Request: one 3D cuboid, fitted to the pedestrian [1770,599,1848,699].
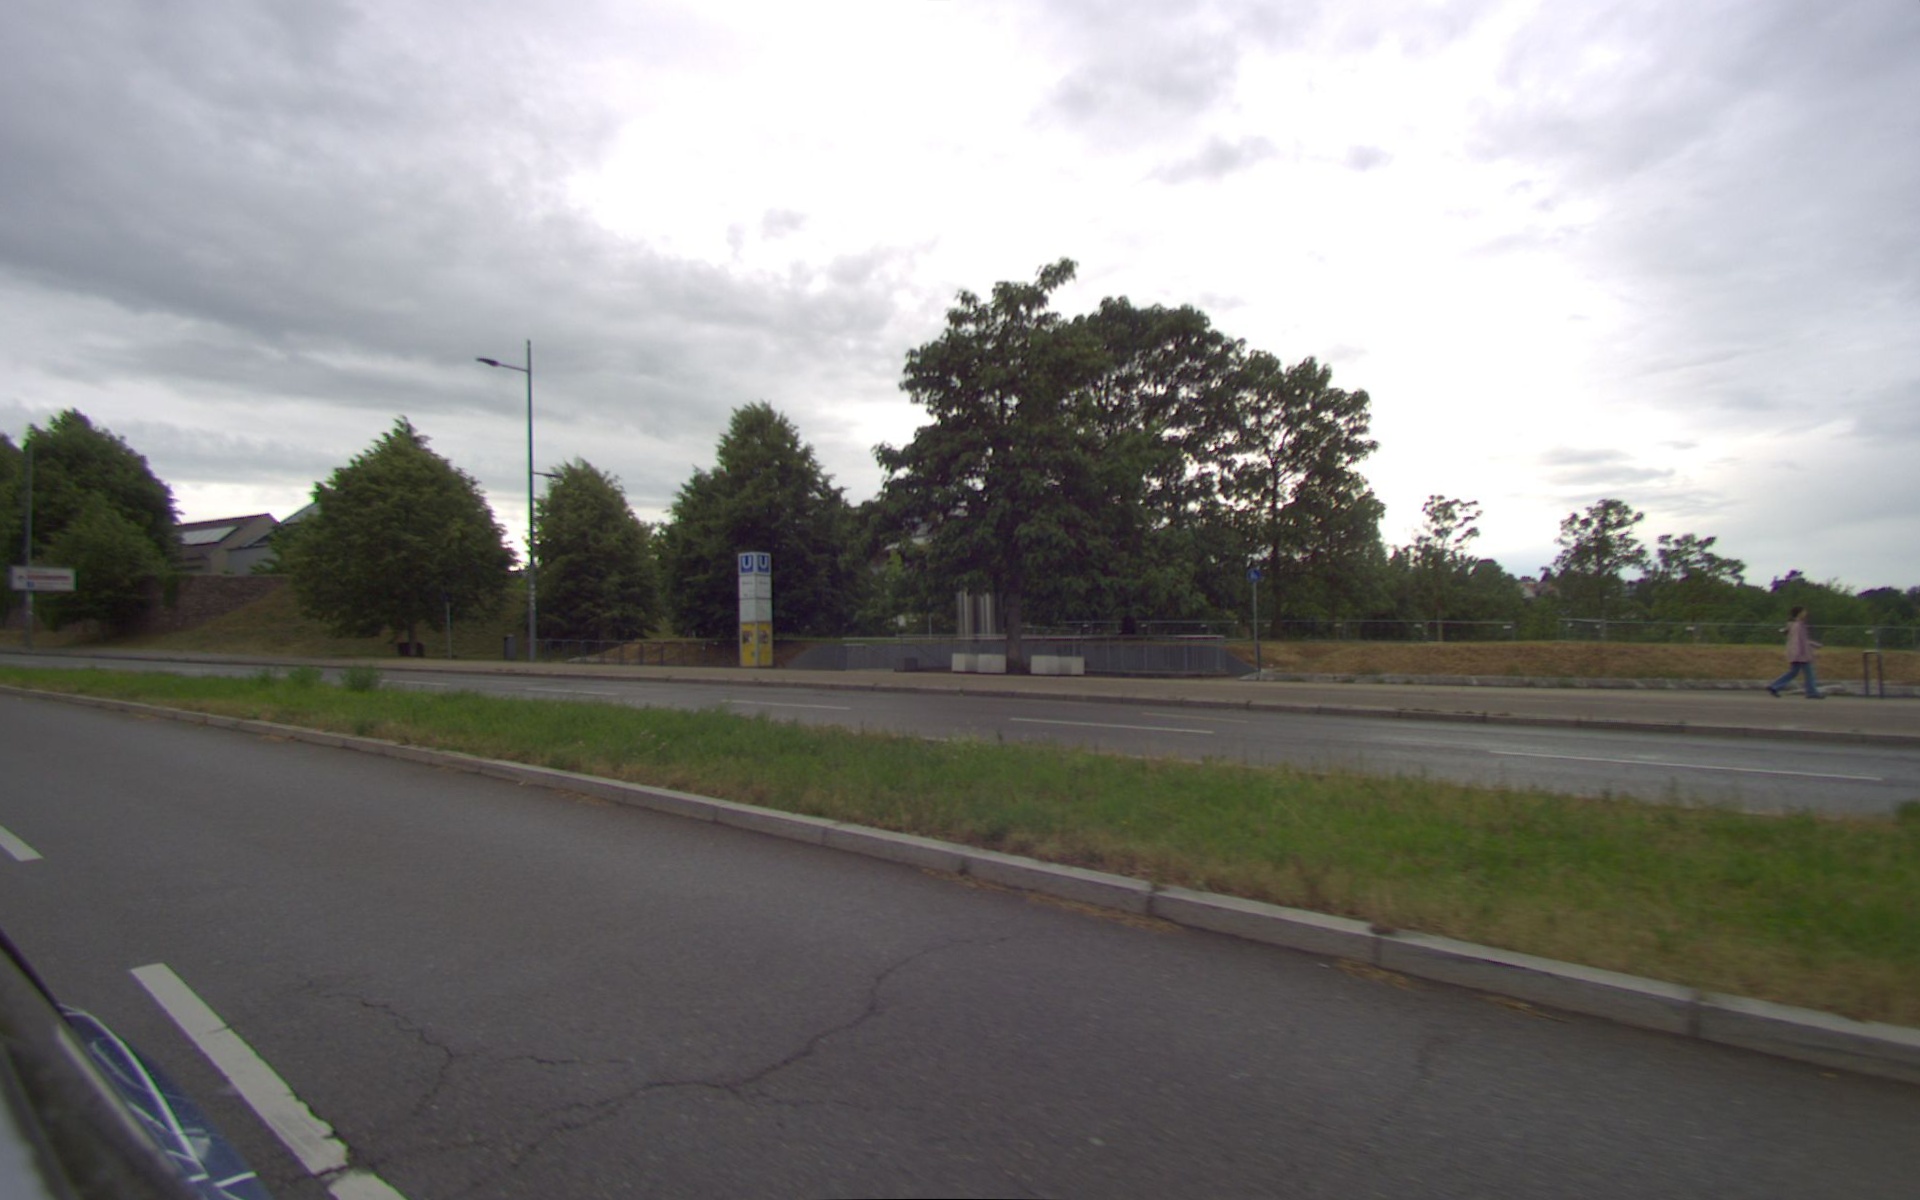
[{"bbox_3d":[14.497,0.813,17.304,0.933,1.633,0.807,0,-1,34],"label":"pedestrian"}]

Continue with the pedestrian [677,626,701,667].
[{"bbox_3d":[-11.595,1.981,43.248,0.753,1.741,0.640,0,-1,34],"label":"pedestrian"}]
